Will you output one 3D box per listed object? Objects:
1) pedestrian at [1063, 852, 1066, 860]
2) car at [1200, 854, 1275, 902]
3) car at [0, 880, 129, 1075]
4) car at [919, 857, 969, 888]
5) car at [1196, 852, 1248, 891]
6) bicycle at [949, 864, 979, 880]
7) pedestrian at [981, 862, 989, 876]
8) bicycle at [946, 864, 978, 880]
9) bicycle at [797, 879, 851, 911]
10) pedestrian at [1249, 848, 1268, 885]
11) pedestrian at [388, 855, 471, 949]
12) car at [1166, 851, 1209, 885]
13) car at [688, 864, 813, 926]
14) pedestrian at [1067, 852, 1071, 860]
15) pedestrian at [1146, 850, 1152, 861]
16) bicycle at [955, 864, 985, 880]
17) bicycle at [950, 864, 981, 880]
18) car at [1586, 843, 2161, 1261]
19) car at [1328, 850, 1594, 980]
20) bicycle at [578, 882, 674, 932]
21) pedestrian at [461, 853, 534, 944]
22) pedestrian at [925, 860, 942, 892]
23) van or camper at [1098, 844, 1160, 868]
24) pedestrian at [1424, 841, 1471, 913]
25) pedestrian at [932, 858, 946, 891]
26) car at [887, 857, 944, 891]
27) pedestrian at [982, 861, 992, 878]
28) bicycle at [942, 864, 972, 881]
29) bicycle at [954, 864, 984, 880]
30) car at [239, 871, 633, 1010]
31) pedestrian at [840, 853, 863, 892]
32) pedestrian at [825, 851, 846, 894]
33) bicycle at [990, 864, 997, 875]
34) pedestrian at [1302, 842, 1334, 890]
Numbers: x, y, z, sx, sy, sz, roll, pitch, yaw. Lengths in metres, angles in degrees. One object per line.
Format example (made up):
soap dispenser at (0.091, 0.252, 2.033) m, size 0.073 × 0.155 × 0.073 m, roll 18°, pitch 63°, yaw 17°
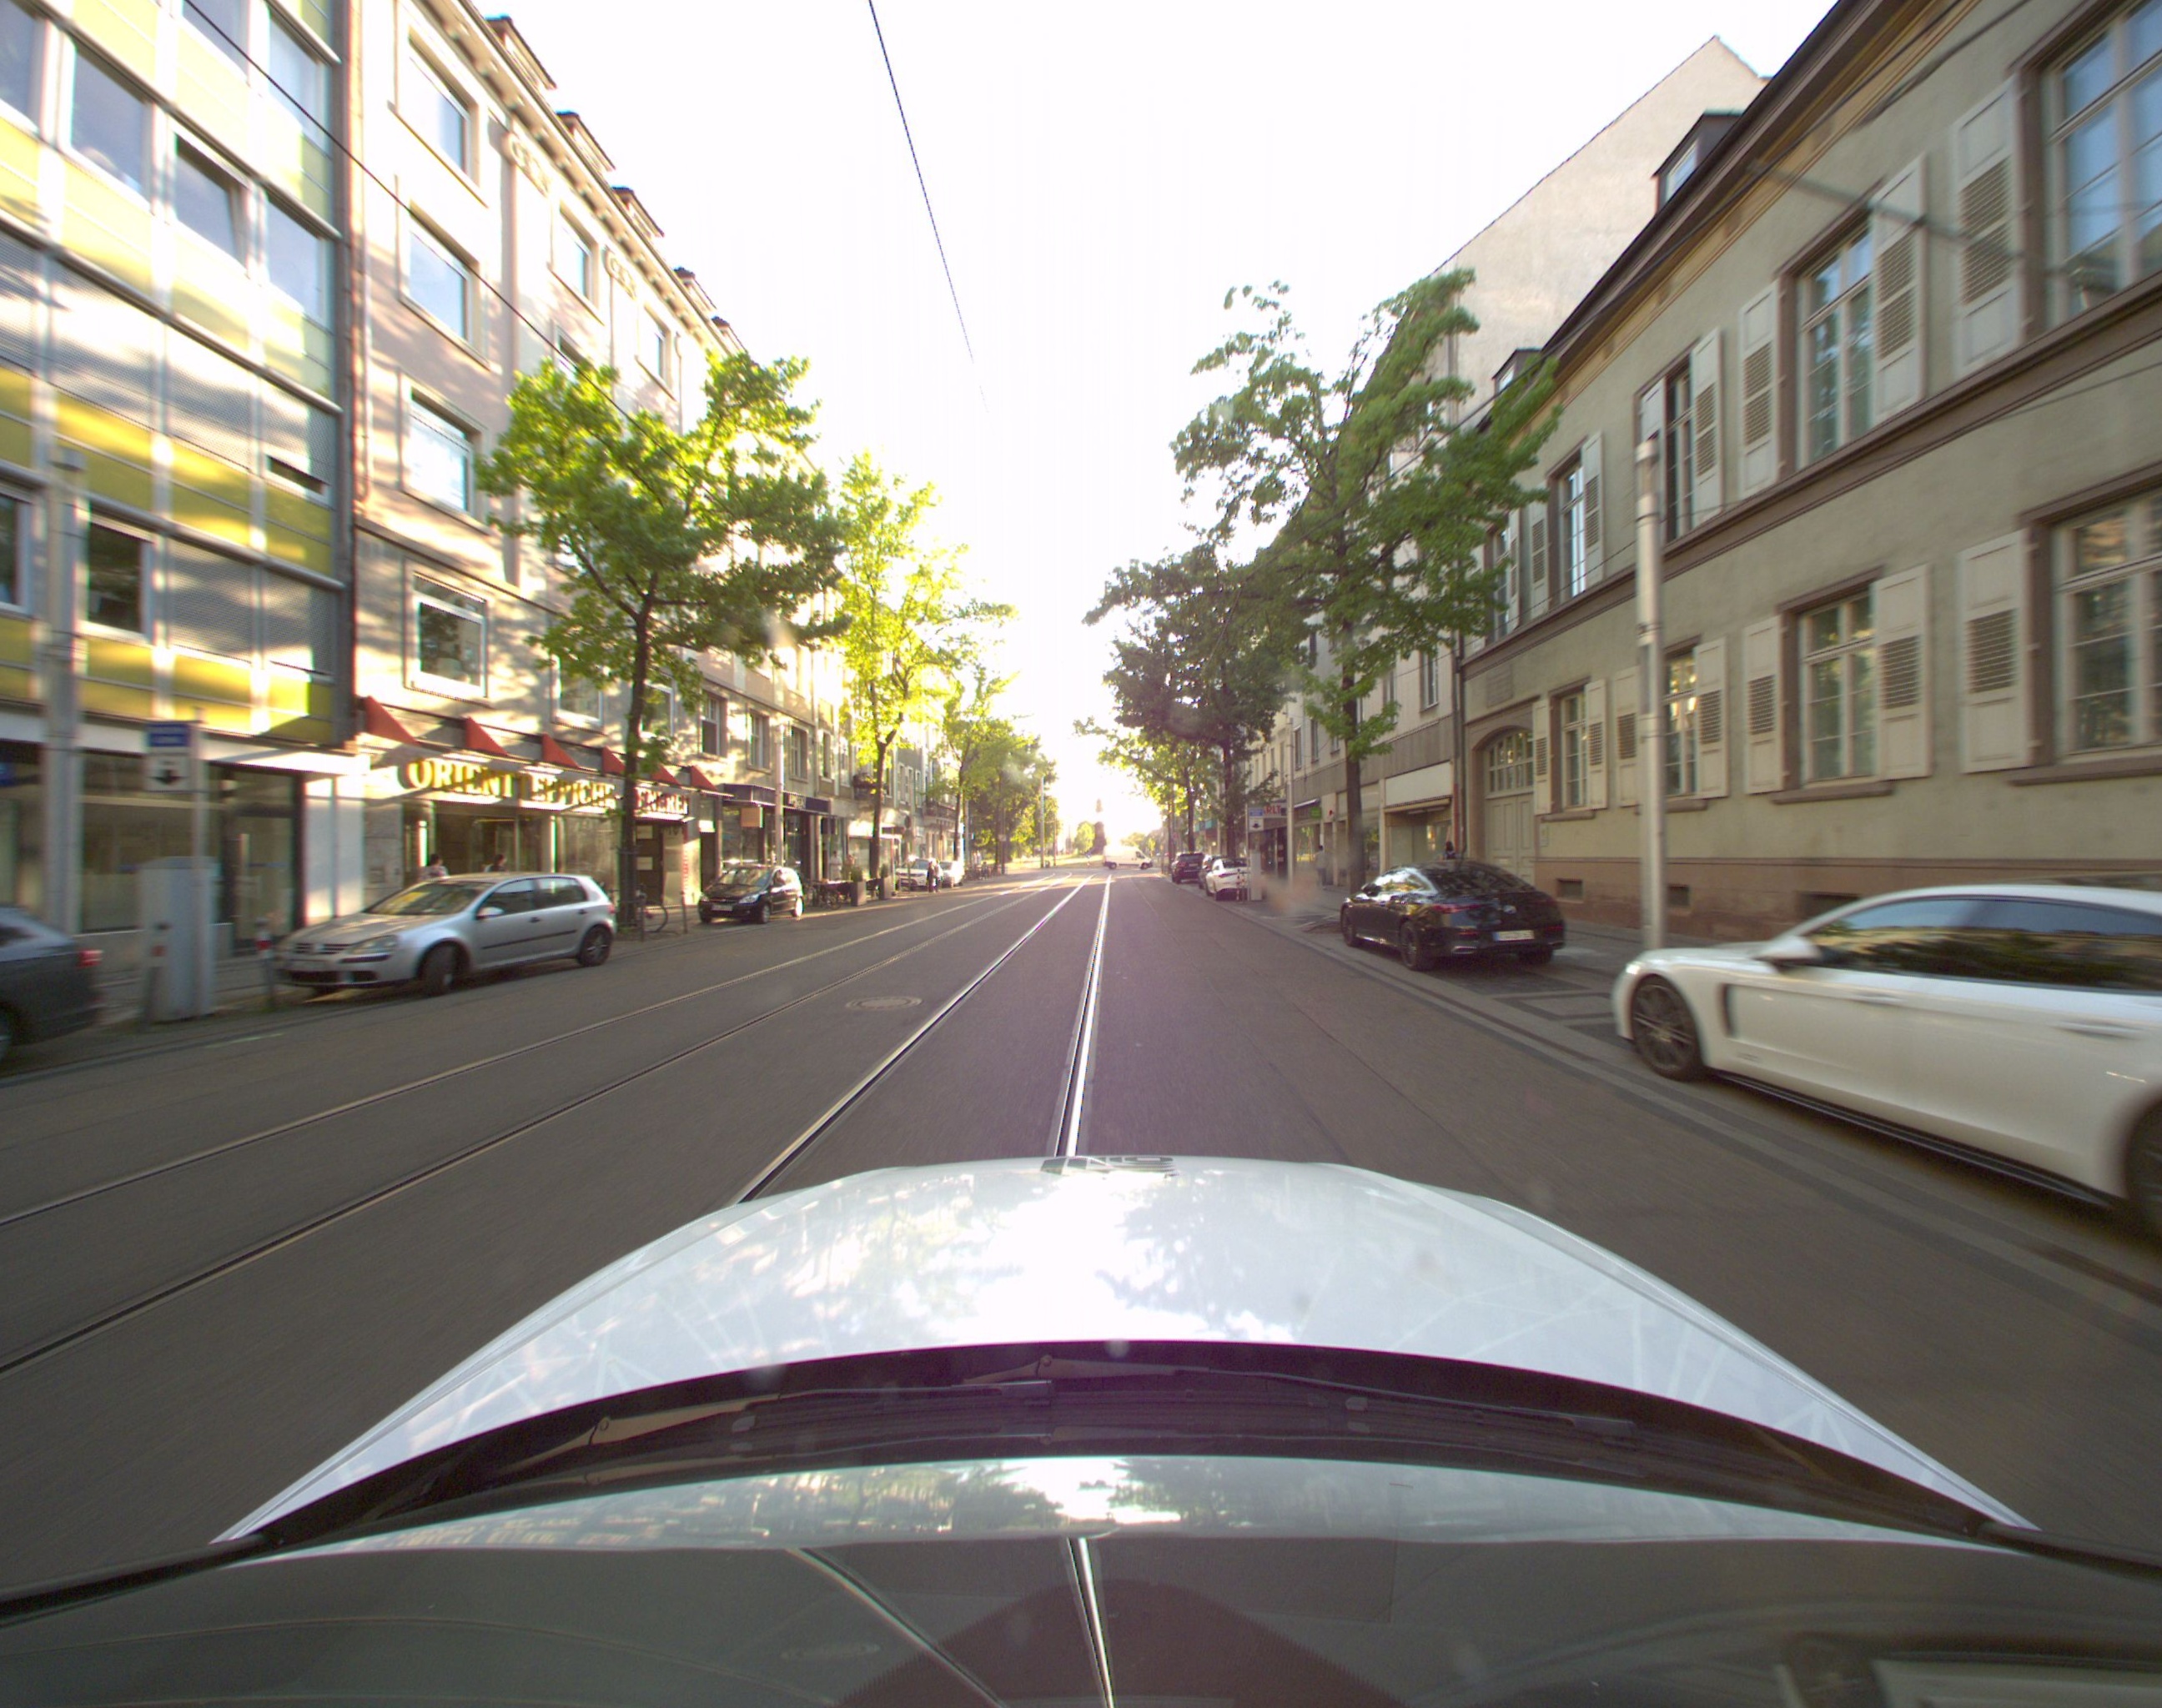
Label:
pedestrian at (-3.615, 0.472, 177.553) m, size 0.768 × 1.606 × 0.637 m, roll -1°, pitch 0°, yaw -5°
car at (5.679, 0.810, 30.095) m, size 1.985 × 1.498 × 4.683 m, roll -4°, pitch 0°, yaw 3°
car at (-9.231, 0.960, 4.849) m, size 1.704 × 1.461 × 4.489 m, roll 1°, pitch 0°, yaw 2°
car at (-7.802, 1.009, 46.817) m, size 1.829 × 1.580 × 4.705 m, roll 3°, pitch 0°, yaw 3°
car at (6.490, 0.769, 37.834) m, size 1.770 × 1.591 × 3.893 m, roll -4°, pitch 0°, yaw 1°
bicycle at (-8.096, 1.248, 56.450) m, size 2.032 × 1.105 × 0.497 m, roll 1°, pitch -1°, yaw -23°
pedestrian at (-7.806, 1.227, 66.476) m, size 0.589 × 1.194 × 0.642 m, roll 0°, pitch 0°, yaw -1°
bicycle at (-8.144, 1.238, 55.847) m, size 2.117 × 1.105 × 0.497 m, roll 1°, pitch -1°, yaw -23°
bicycle at (-8.243, 1.296, 26.147) m, size 1.607 × 0.965 × 0.433 m, roll 1°, pitch 0°, yaw 7°
pedestrian at (8.403, 0.585, 38.659) m, size 0.641 × 1.670 × 0.786 m, roll -4°, pitch 0°, yaw 2°
pedestrian at (-12.276, 0.882, 15.373) m, size 0.786 × 1.693 × 0.914 m, roll -1°, pitch 0°, yaw 1°
car at (6.153, 0.780, 47.619) m, size 1.931 × 1.759 × 4.682 m, roll -4°, pitch 0°, yaw 2°
car at (-8.740, 1.017, 21.905) m, size 1.659 × 1.428 × 3.829 m, roll 2°, pitch 0°, yaw 2°
pedestrian at (-2.645, 0.456, 177.123) m, size 0.768 × 1.606 × 0.637 m, roll -1°, pitch 0°, yaw -5°
pedestrian at (9.880, 0.272, 118.683) m, size 0.630 × 1.606 × 0.776 m, roll -1°, pitch 0°, yaw 28°
bicycle at (-7.913, 1.275, 57.948) m, size 2.014 × 1.105 × 0.501 m, roll 1°, pitch -1°, yaw 4°
bicycle at (-8.086, 1.277, 57.072) m, size 2.032 × 1.105 × 0.497 m, roll 1°, pitch -1°, yaw -23°
car at (4.859, 0.704, 3.941) m, size 1.905 × 1.420 × 4.891 m, roll -3°, pitch 0°, yaw 2°
car at (5.313, 0.746, 12.235) m, size 1.826 × 1.478 × 4.763 m, roll -3°, pitch 0°, yaw 1°
bicycle at (-10.000, 1.151, 17.943) m, size 1.807 × 1.065 × 0.439 m, roll 0°, pitch 0°, yaw -7°
pedestrian at (-11.240, 0.837, 15.714) m, size 0.841 × 1.693 × 0.740 m, roll -1°, pitch 0°, yaw 1°
pedestrian at (-6.995, 1.046, 38.553) m, size 0.617 × 1.509 × 0.730 m, roll -1°, pitch -1°, yaw 3°
van or camper at (5.190, 0.225, 88.735) m, size 6.293 × 2.472 × 2.610 m, roll -1°, pitch 0°, yaw -7°
pedestrian at (8.764, 0.540, 19.491) m, size 0.655 × 1.665 × 0.888 m, roll -3°, pitch 0°, yaw 1°
pedestrian at (-6.841, 1.001, 39.332) m, size 0.519 × 1.569 × 0.634 m, roll -1°, pitch -1°, yaw 3°
car at (-8.378, 0.966, 41.608) m, size 1.829 × 1.580 × 4.119 m, roll 3°, pitch 0°, yaw 3°
pedestrian at (-7.495, 1.243, 64.824) m, size 0.726 × 1.290 × 0.856 m, roll 0°, pitch 0°, yaw -1°
bicycle at (-8.367, 1.239, 54.916) m, size 1.953 × 1.105 × 0.563 m, roll 1°, pitch -1°, yaw -23°
bicycle at (-8.050, 1.275, 58.538) m, size 2.014 × 1.105 × 0.501 m, roll 1°, pitch -1°, yaw 4°
car at (-8.448, 1.009, 11.274) m, size 1.757 × 1.497 × 4.184 m, roll -1°, pitch -1°, yaw 8°
pedestrian at (-10.656, 0.849, 37.851) m, size 0.719 × 1.760 × 1.090 m, roll -1°, pitch 0°, yaw 2°
pedestrian at (-11.485, 0.865, 38.118) m, size 0.719 × 2.013 × 0.643 m, roll -1°, pitch 0°, yaw 2°
bicycle at (-7.550, 1.350, 70.135) m, size 0.335 × 0.946 × 1.511 m, roll -1°, pitch 0°, yaw 3°
pedestrian at (9.125, 0.445, 31.377) m, size 0.855 × 1.753 × 0.933 m, roll -4°, pitch 0°, yaw 2°
